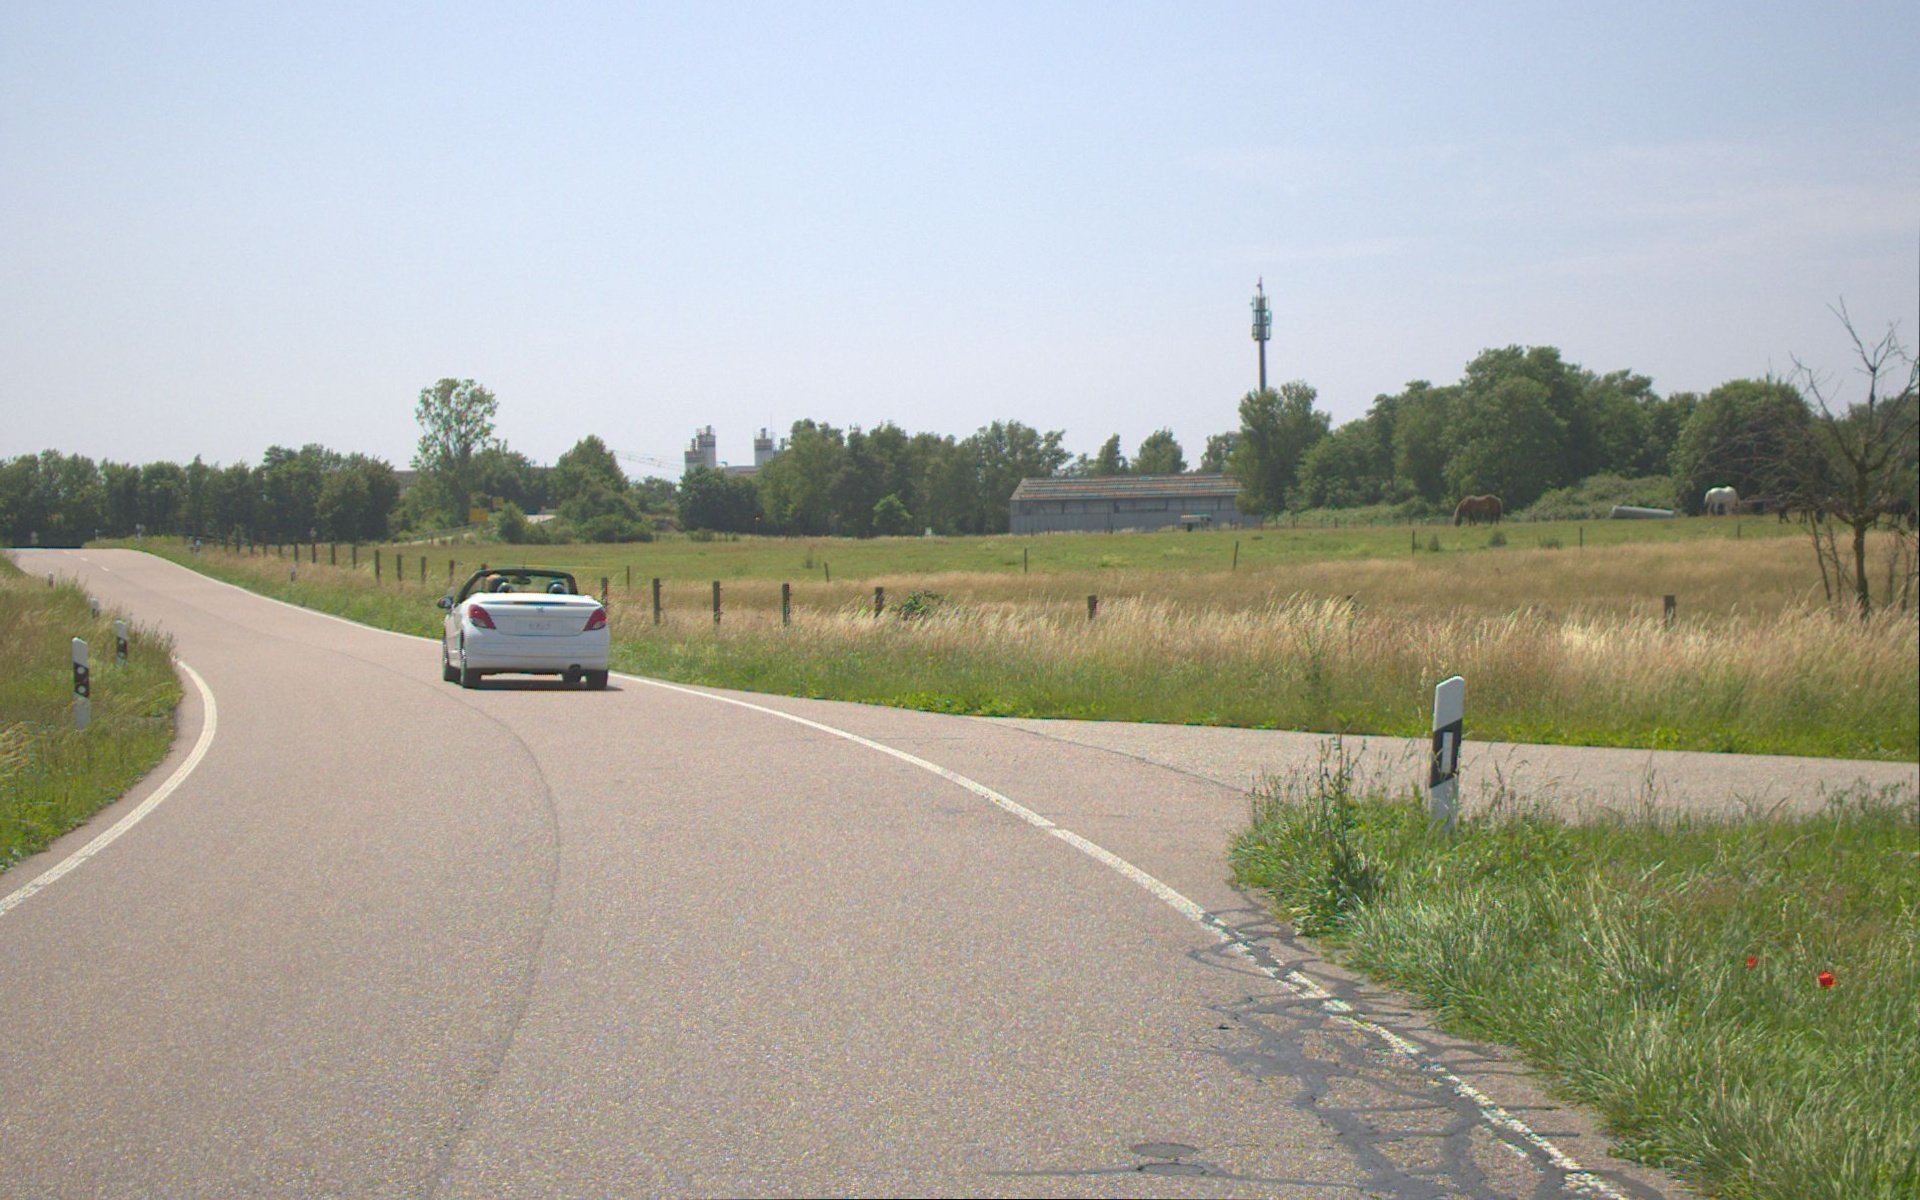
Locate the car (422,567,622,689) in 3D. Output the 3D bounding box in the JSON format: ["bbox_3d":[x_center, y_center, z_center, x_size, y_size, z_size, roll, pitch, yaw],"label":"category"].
[{"bbox_3d":[-5.265,0.317,40.946,1.850,1.375,4.001,1,0,-15],"label":"car"}]
